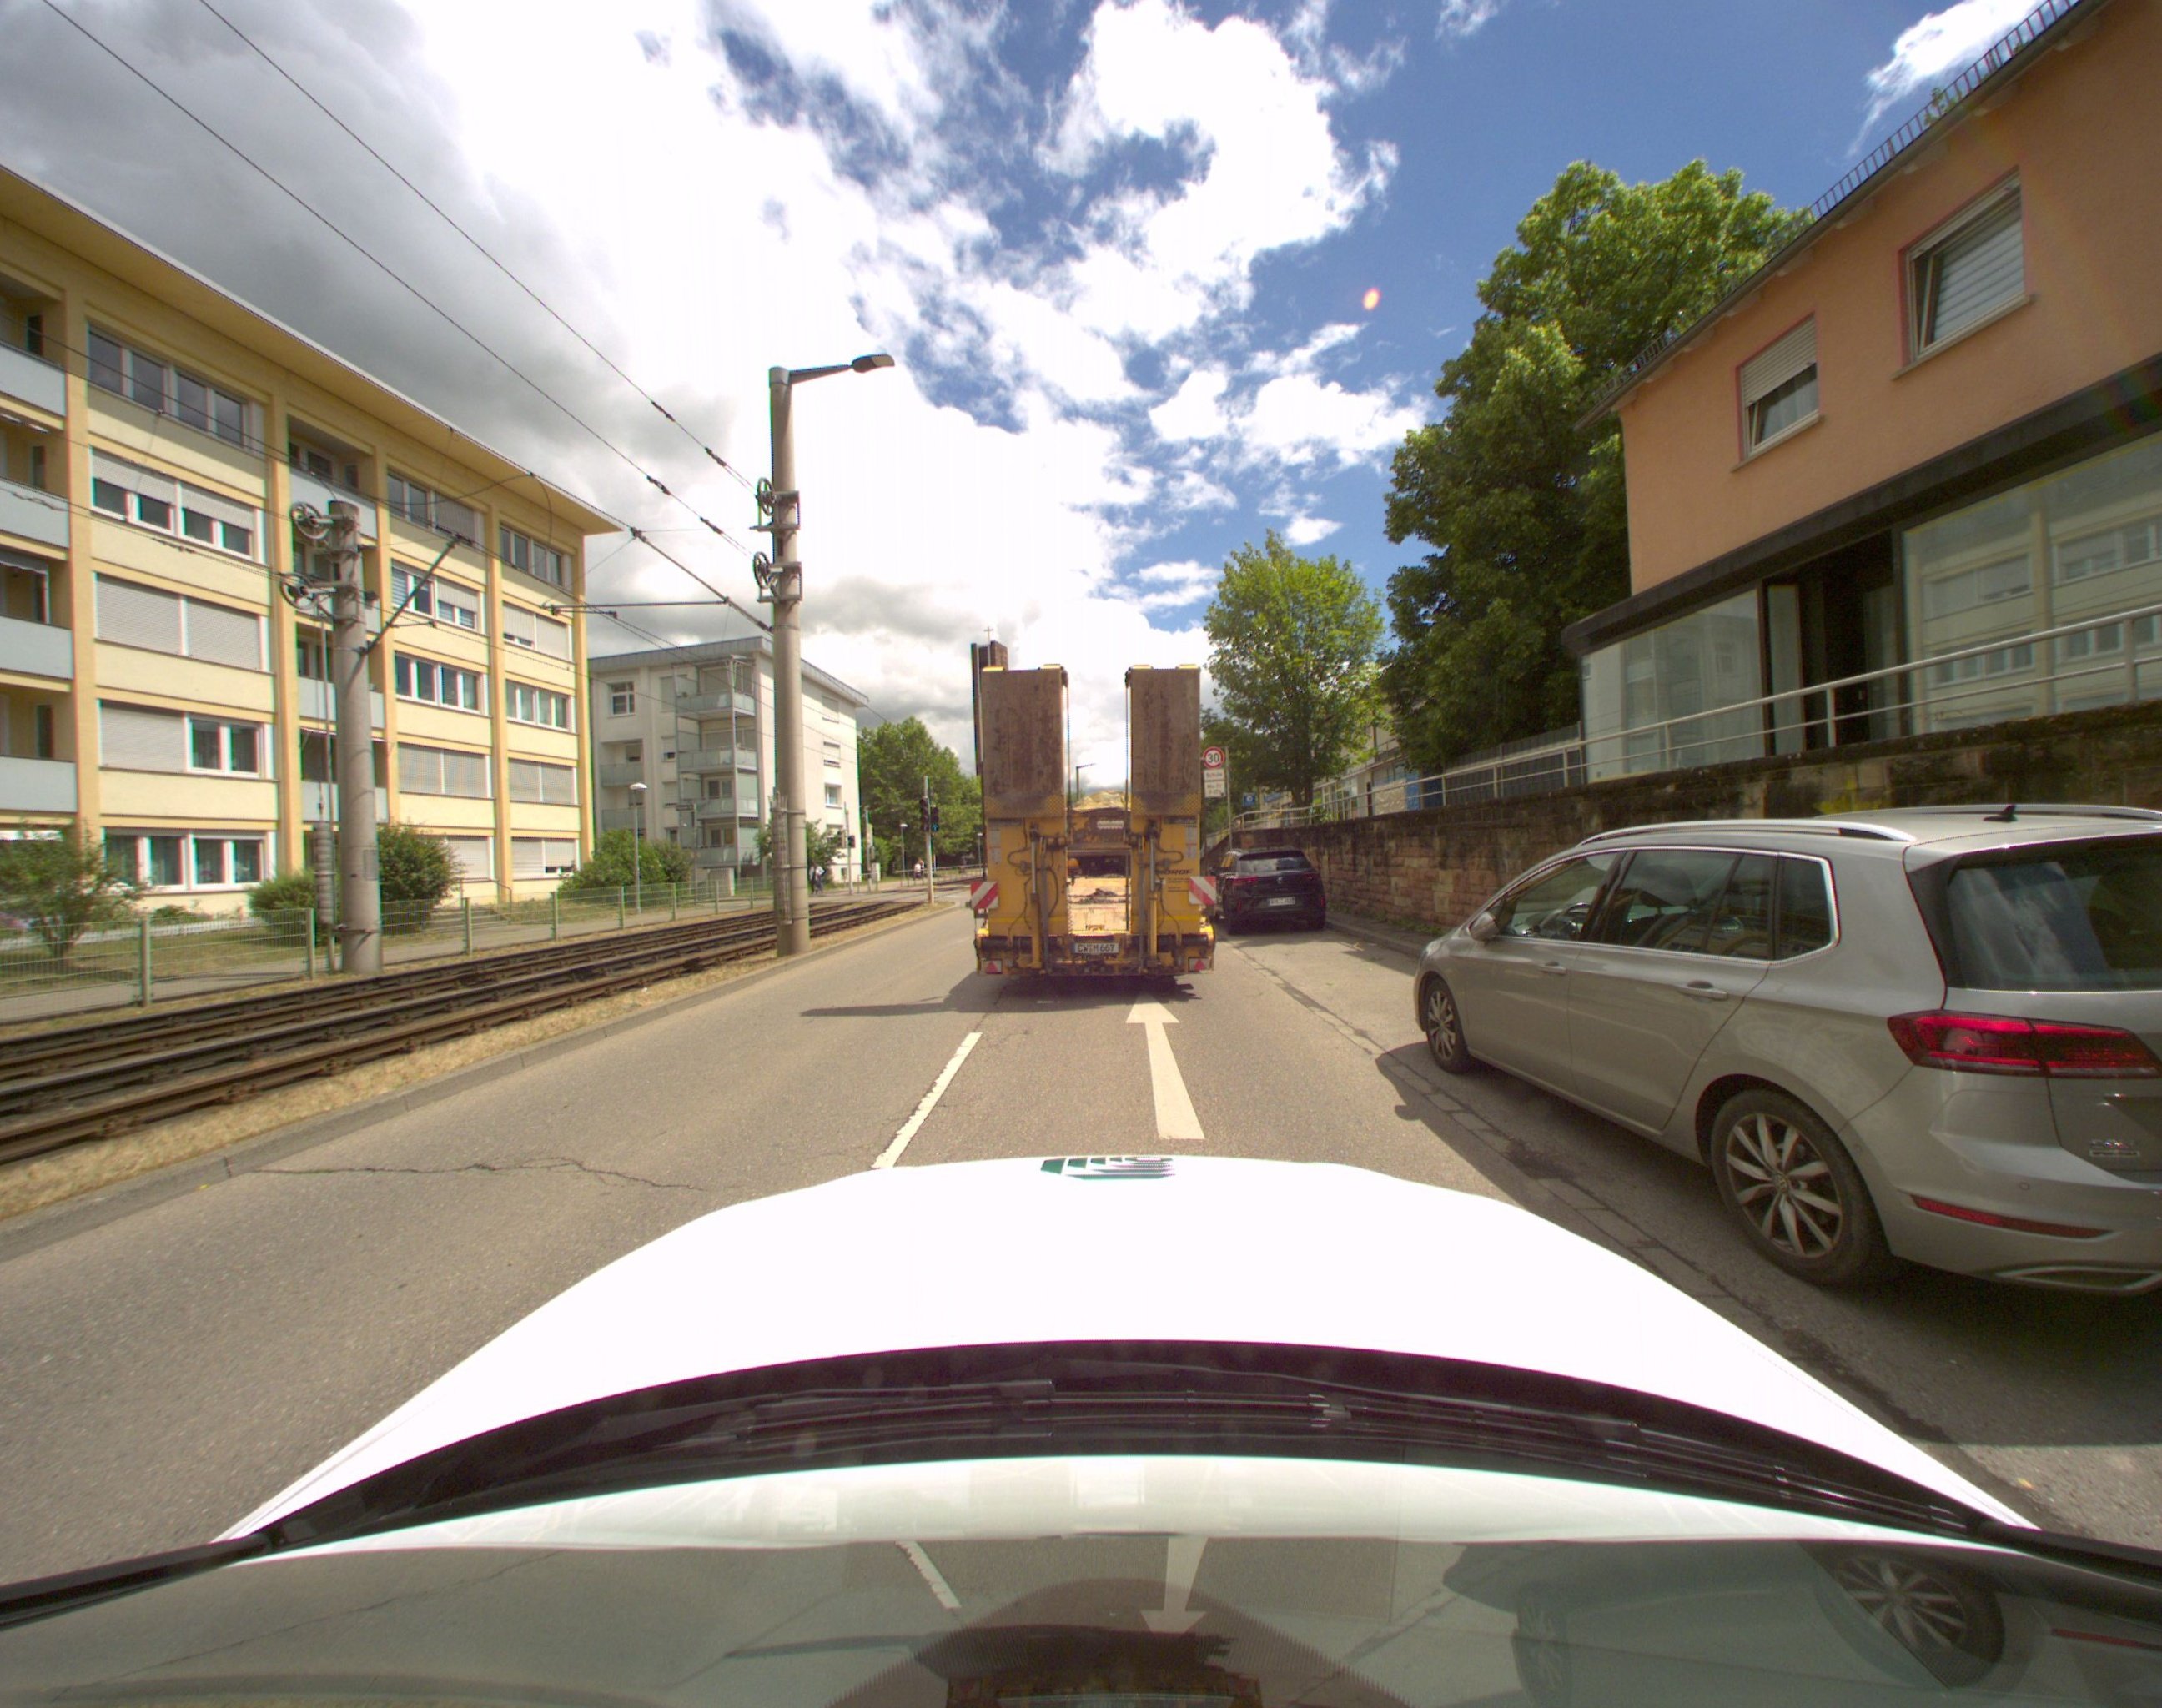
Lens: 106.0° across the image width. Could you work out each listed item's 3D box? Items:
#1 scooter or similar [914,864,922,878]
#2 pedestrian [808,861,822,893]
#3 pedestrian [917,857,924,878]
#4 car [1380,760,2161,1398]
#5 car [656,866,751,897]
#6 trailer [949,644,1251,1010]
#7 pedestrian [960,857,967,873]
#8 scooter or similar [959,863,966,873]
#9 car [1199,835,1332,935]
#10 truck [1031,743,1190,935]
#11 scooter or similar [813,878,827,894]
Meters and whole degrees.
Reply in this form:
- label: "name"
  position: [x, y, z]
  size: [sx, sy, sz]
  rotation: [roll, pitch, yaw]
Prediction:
- label: "scooter or similar"
  position: [-11.979, 1.245, 59.843]
  size: [0.336, 1.057, 0.688]
  rotation: [-2, 0, 5]
- label: "pedestrian"
  position: [-13.050, 1.127, 39.941]
  size: [0.435, 1.581, 0.475]
  rotation: [-2, 0, 7]
- label: "pedestrian"
  position: [-11.930, 1.007, 60.474]
  size: [0.346, 1.537, 0.558]
  rotation: [-2, 0, 5]
- label: "car"
  position: [3.231, 0.543, 4.228]
  size: [1.783, 1.617, 4.249]
  rotation: [-3, 0, 1]
- label: "car"
  position: [-19.201, 1.387, 41.529]
  size: [3.963, 1.345, 1.906]
  rotation: [-2, 0, 9]
- label: "trailer"
  position: [0.398, -0.275, 12.596]
  size: [2.933, 3.601, 8.690]
  rotation: [-2, 0, 3]
- label: "pedestrian"
  position: [-11.155, 1.049, 77.458]
  size: [0.562, 1.513, 0.646]
  rotation: [0, 0, 1]
- label: "scooter or similar"
  position: [-11.191, 1.314, 76.805]
  size: [0.504, 0.971, 0.646]
  rotation: [0, 0, 1]
- label: "car"
  position: [3.521, 0.543, 16.250]
  size: [1.843, 1.639, 4.003]
  rotation: [-3, 0, 3]
- label: "truck"
  position: [0.674, -0.288, 17.988]
  size: [2.931, 3.572, 4.880]
  rotation: [-2, 0, 2]
- label: "scooter or similar"
  position: [-12.672, 1.546, 39.560]
  size: [0.435, 0.747, 0.475]
  rotation: [-2, 0, 7]
